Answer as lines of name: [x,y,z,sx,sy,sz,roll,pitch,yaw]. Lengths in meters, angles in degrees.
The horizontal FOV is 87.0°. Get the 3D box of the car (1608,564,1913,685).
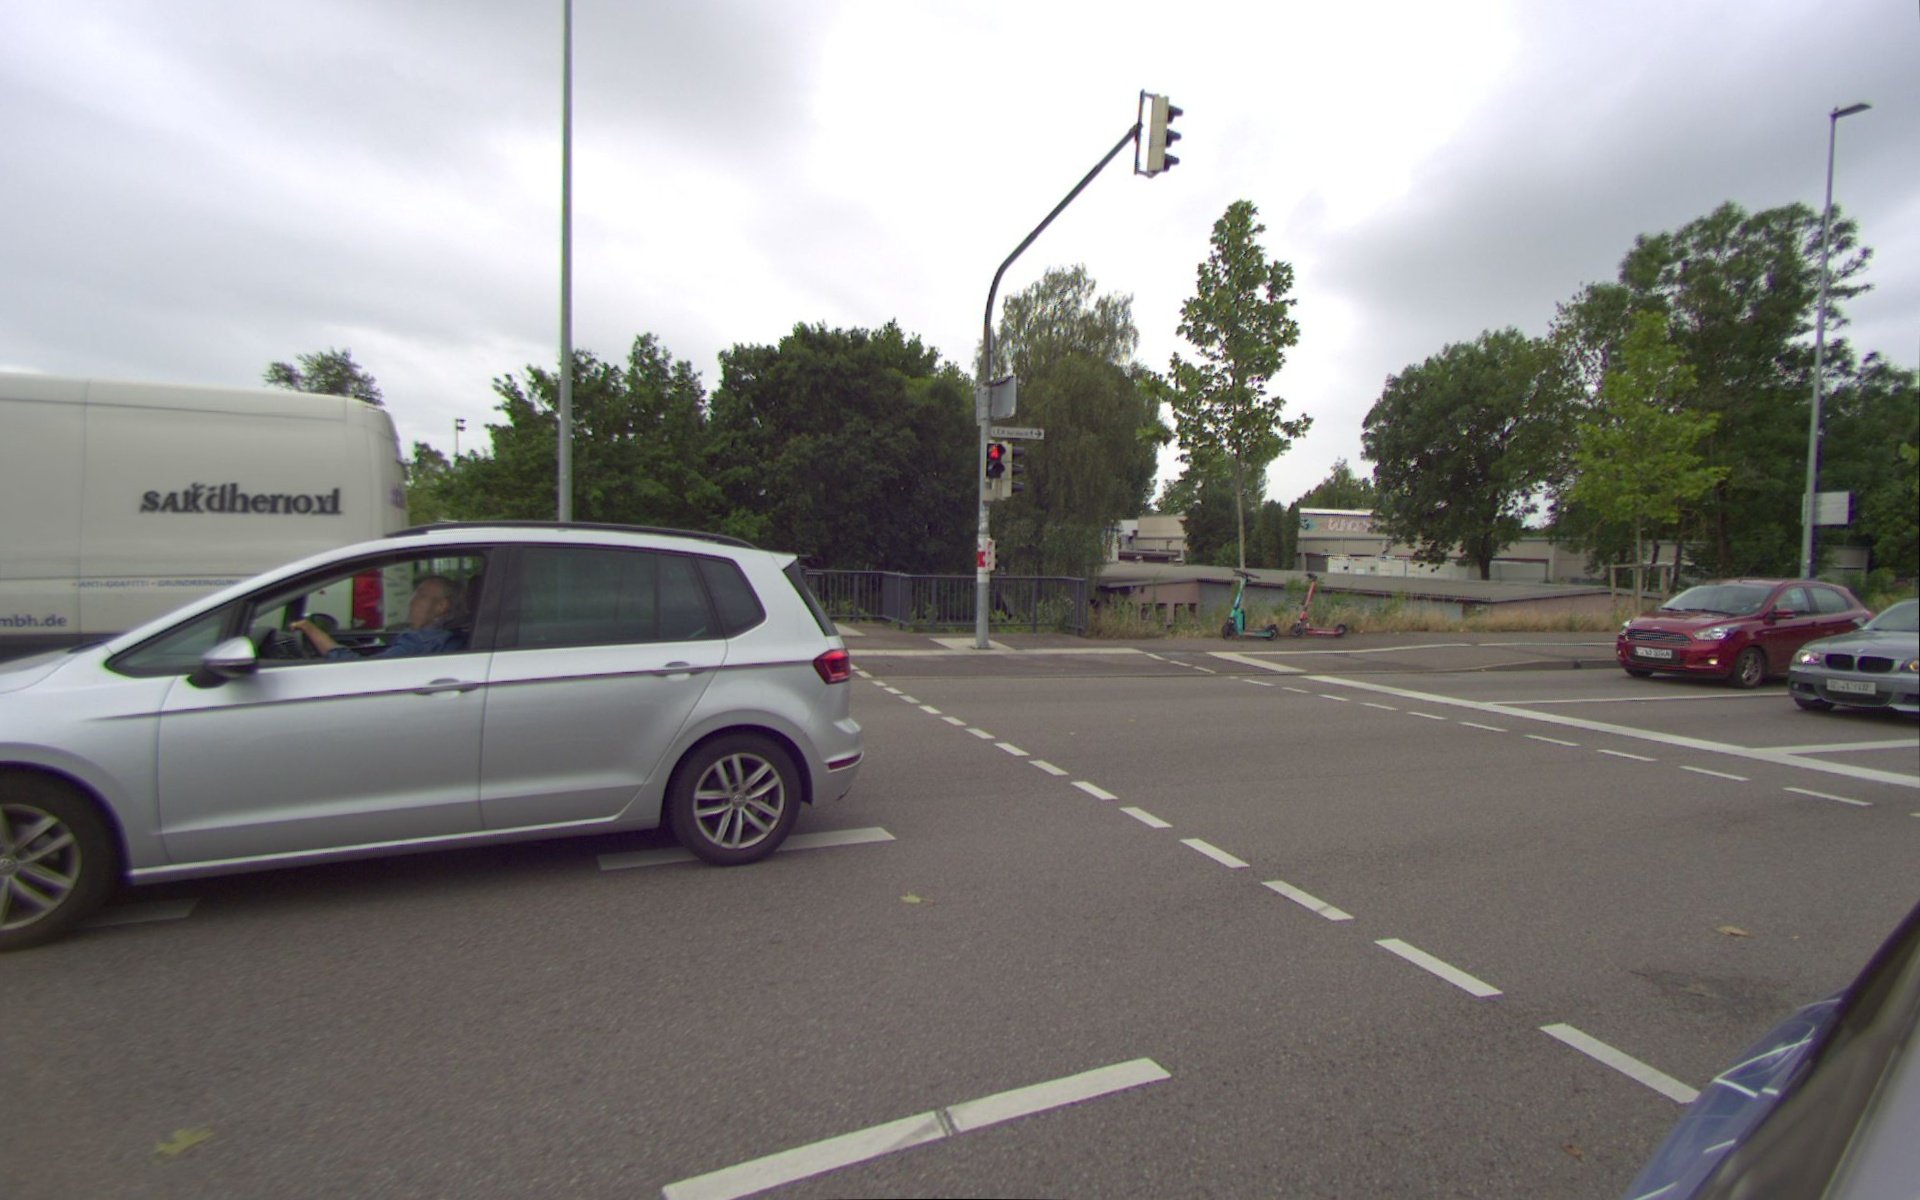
car: [11.591,0.302,14.696,3.692,1.580,1.660,0,2,-18]

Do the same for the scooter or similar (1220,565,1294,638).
scooter or similar: [5.322,0.021,18.173,1.130,1.258,0.479,1,4,-12]

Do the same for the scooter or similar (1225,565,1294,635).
scooter or similar: [5.538,-0.005,18.708,1.130,1.258,0.392,0,4,-17]

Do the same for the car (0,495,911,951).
car: [-2.503,0.381,4.922,4.115,1.571,1.864,0,2,-27]

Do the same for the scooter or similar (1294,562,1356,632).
scooter or similar: [6.770,-0.062,18.789,1.025,1.229,0.376,-2,4,-11]

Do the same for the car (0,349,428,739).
car: [-7.575,-0.428,7.932,5.776,2.658,2.671,0,2,-22]

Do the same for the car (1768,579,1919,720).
car: [11.610,0.503,11.376,4.252,1.408,1.881,0,2,-18]
